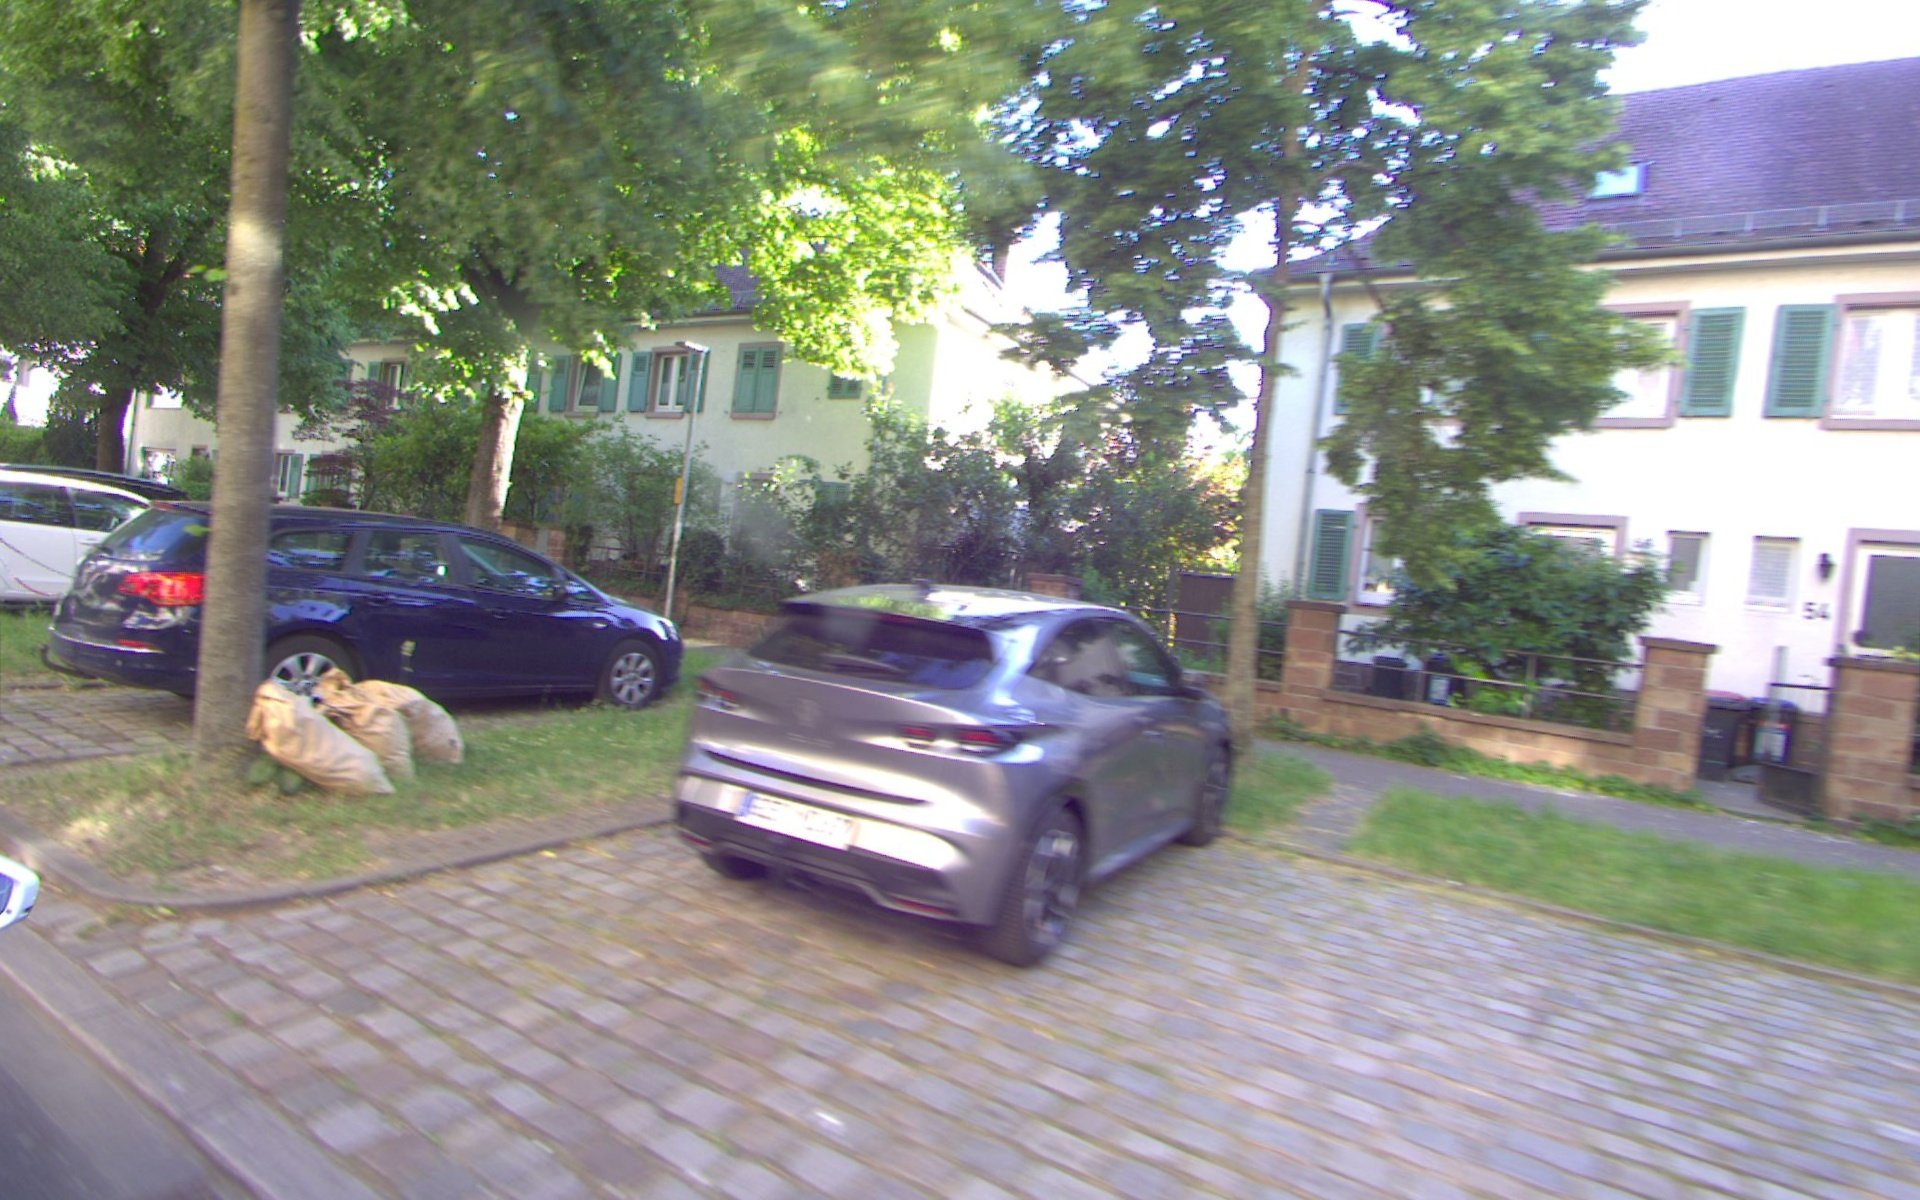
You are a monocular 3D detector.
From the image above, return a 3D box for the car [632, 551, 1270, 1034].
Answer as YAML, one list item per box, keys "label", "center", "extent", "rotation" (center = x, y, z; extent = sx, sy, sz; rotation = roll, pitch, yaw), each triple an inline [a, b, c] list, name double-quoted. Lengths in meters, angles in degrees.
- label: "car"
  center: [0.392, 0.736, 5.498]
  extent: [1.661, 1.472, 4.040]
  rotation: [7, 0, 28]

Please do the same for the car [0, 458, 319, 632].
- label: "car"
  center: [-9.606, -0.602, 11.153]
  extent: [1.663, 1.620, 3.775]
  rotation: [7, 1, 33]

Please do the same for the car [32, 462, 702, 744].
- label: "car"
  center: [-4.287, 0.089, 8.005]
  extent: [1.664, 1.619, 4.225]
  rotation: [5, -1, 33]

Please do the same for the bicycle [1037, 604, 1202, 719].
- label: "bicycle"
  center: [1.892, 0.713, 12.078]
  extent: [1.789, 1.143, 0.564]
  rotation: [6, 2, 32]

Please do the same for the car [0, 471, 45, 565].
- label: "car"
  center: [-18.596, -1.624, 17.096]
  extent: [1.673, 1.619, 4.145]
  rotation: [5, -1, 29]

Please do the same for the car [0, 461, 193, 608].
- label: "car"
  center: [-12.046, -0.884, 12.066]
  extent: [1.675, 1.619, 4.141]
  rotation: [5, -1, 33]

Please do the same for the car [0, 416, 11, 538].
- label: "car"
  center: [-26.567, -3.276, 22.617]
  extent: [2.422, 3.017, 7.153]
  rotation: [7, 2, 29]
